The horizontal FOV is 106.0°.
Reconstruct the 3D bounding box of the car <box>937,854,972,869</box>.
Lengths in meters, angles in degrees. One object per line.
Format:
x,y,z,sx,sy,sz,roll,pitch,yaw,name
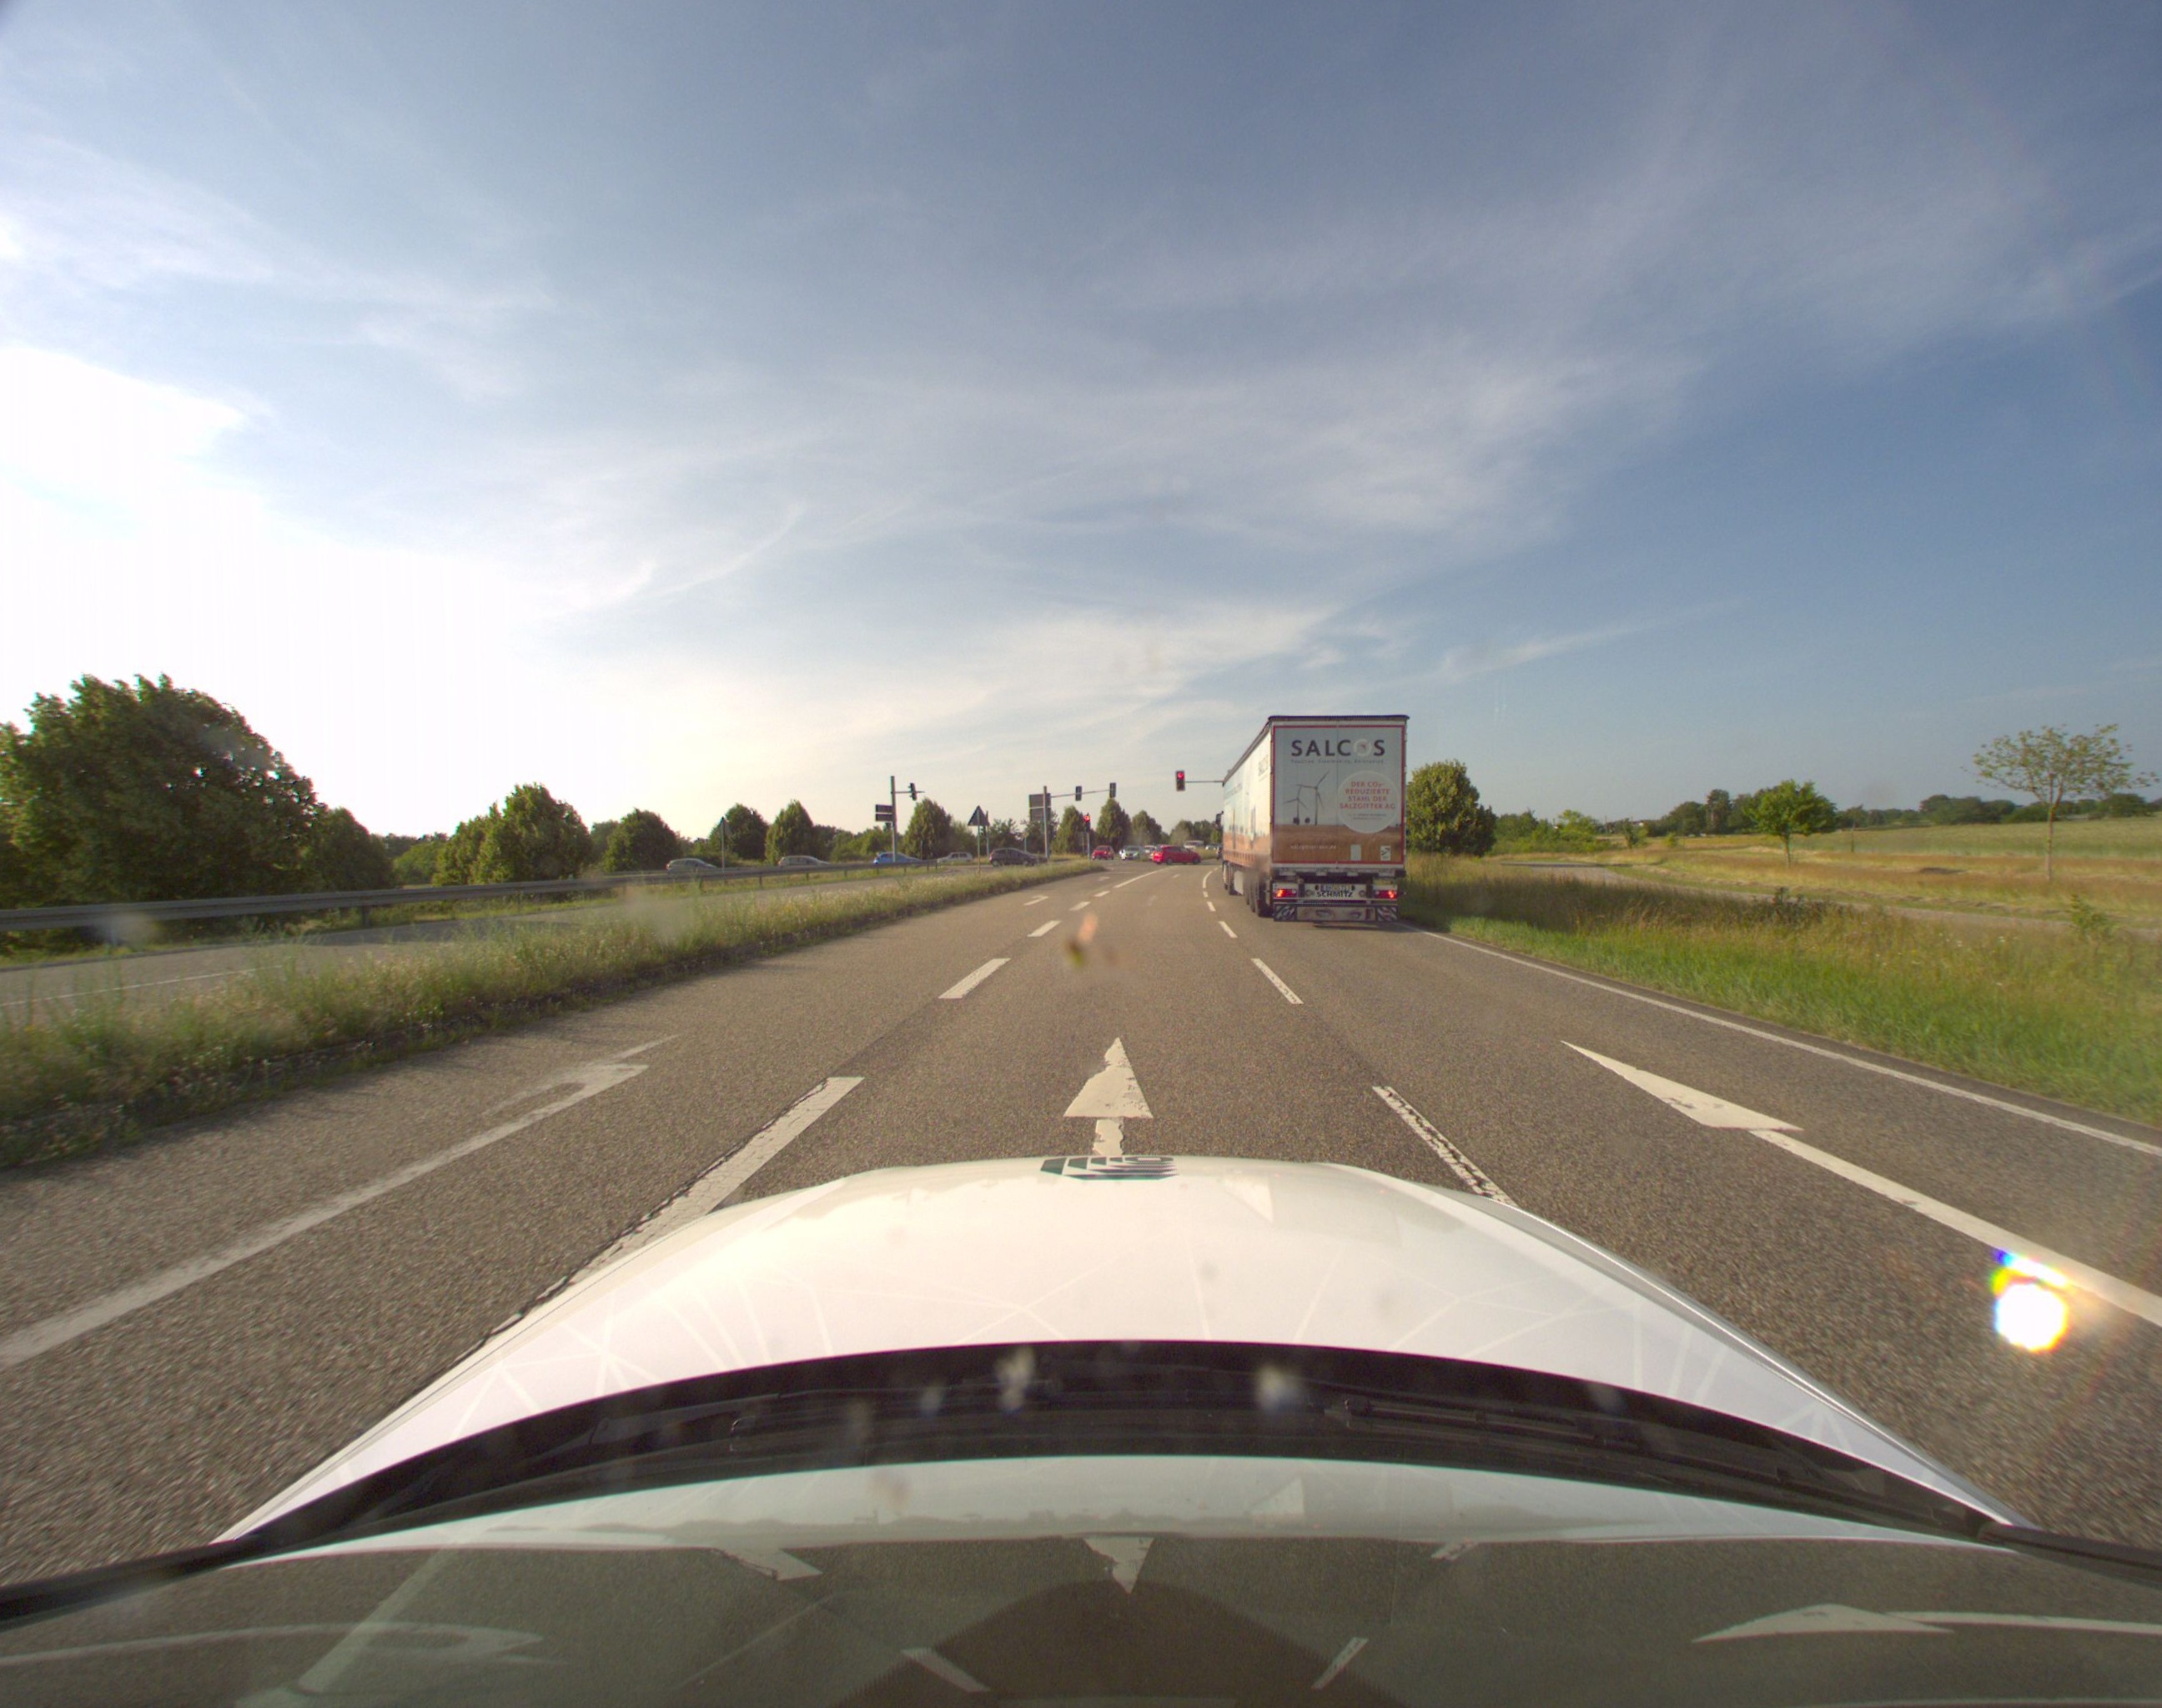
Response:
-12.874,0.733,82.949,3.199,1.492,1.764,-1,0,-25,car

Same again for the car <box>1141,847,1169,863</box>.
6.778,0.104,74.124,1.823,1.377,4.294,0,-1,14,car

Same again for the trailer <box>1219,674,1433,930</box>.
5.604,-0.989,21.599,3.264,4.681,13.173,0,0,7,trailer

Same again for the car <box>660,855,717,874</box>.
-33.826,0.874,70.187,4.156,1.605,1.795,0,-1,10,car

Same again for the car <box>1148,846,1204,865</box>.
7.938,0.173,67.975,4.285,1.565,1.885,0,-1,-26,car

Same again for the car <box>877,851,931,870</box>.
-14.577,0.513,67.067,3.944,1.492,1.785,-1,0,13,car

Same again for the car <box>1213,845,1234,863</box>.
15.220,0.022,86.946,1.895,1.916,4.294,0,-1,14,car

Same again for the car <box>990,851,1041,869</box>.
-5.237,0.497,65.116,3.764,1.416,1.924,0,-1,6,car

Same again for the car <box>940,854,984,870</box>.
-12.093,0.775,82.723,3.960,1.540,2.007,-1,0,12,car

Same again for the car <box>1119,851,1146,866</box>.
5.456,0.429,85.234,1.772,1.488,4.671,-1,0,17,car

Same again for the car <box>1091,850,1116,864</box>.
2.443,0.298,87.811,1.707,1.488,3.822,-1,0,17,car

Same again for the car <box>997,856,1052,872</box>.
-4.824,0.843,69.753,4.233,1.323,1.922,0,-1,14,car

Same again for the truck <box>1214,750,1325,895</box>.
6.528,-1.008,29.112,3.282,4.657,5.743,0,0,7,truck

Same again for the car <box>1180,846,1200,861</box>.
15.262,-0.080,113.861,1.909,2.078,4.265,-1,0,20,car
